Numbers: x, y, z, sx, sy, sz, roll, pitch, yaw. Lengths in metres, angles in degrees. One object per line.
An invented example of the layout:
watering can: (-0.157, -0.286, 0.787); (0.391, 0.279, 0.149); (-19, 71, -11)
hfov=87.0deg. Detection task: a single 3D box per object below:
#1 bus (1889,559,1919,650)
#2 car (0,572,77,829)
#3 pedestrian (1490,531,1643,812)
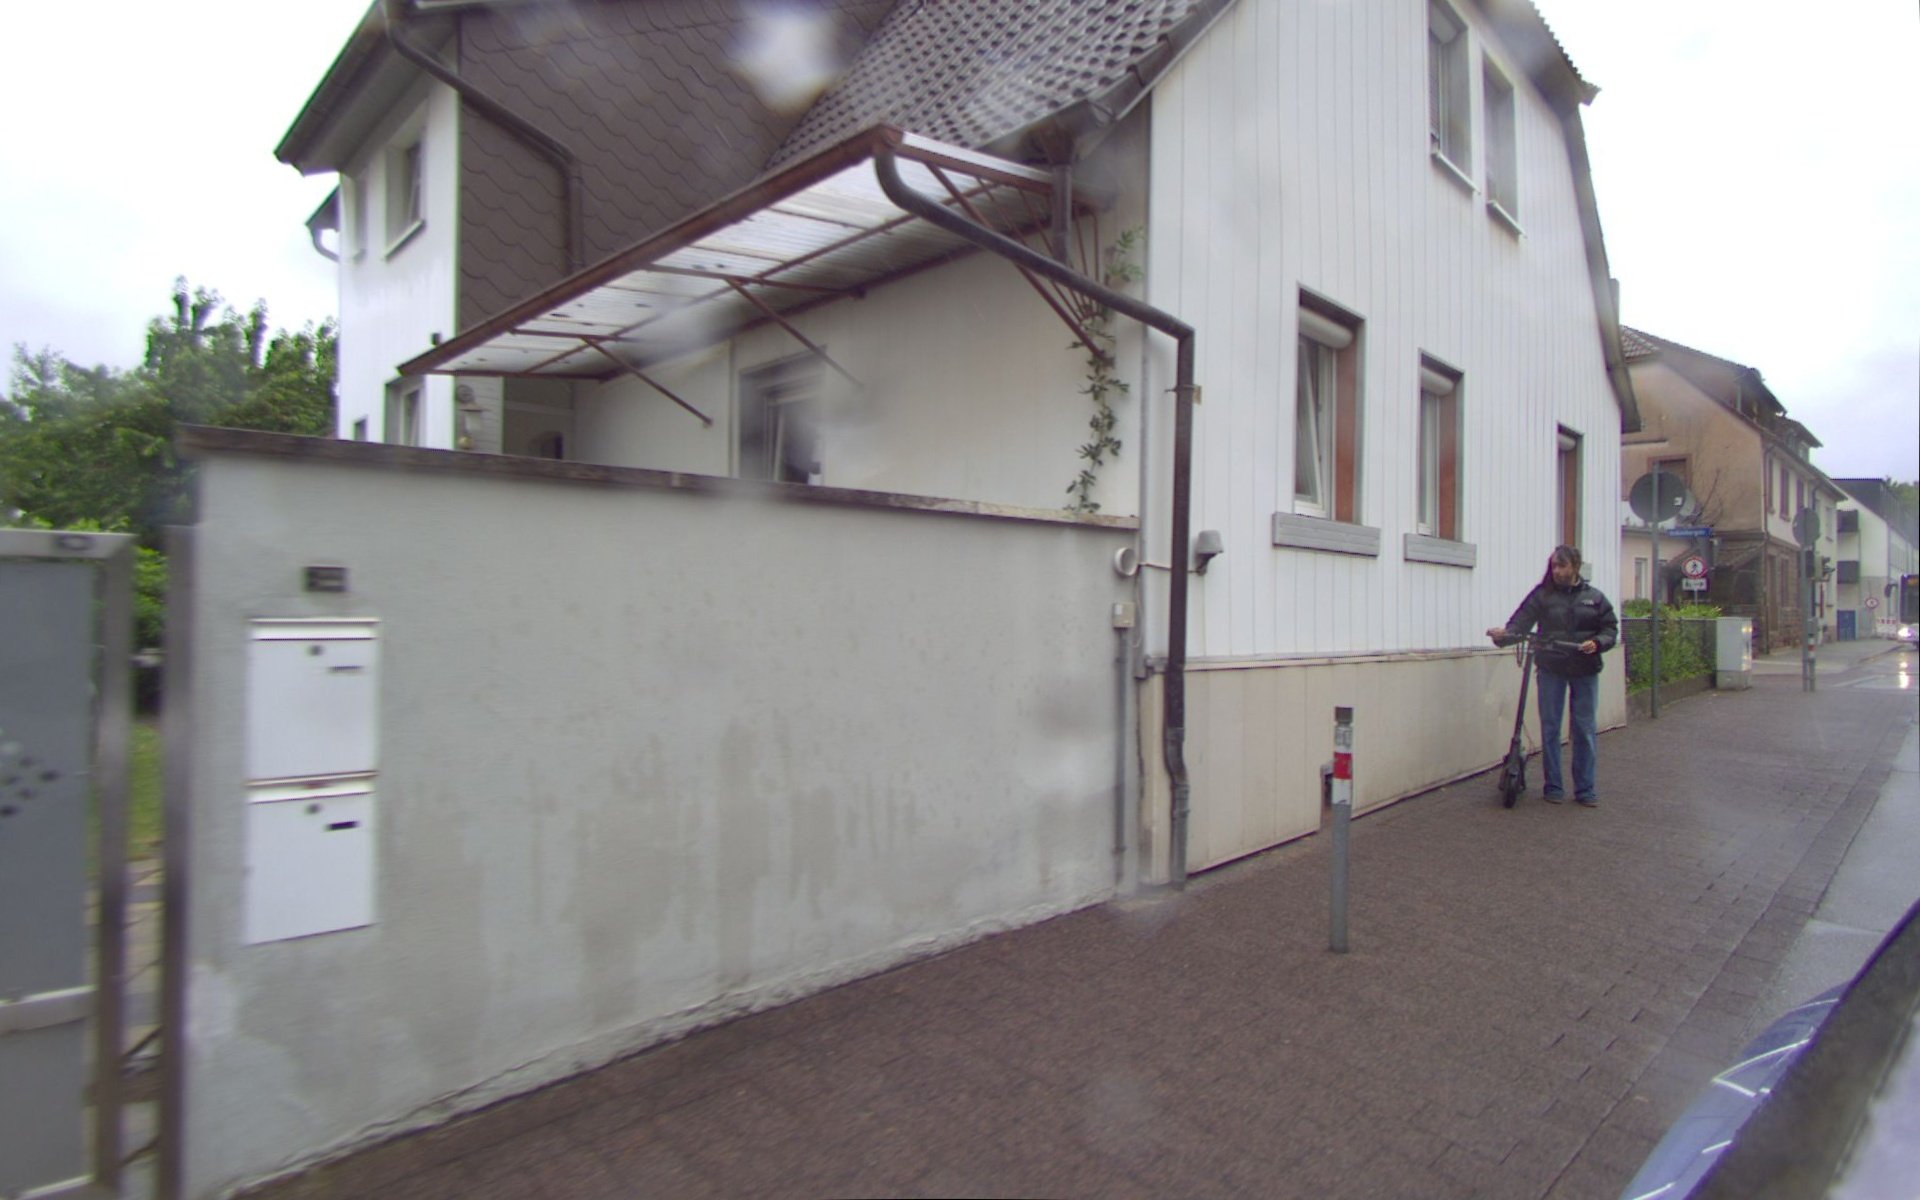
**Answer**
bus: (42.522, 0.148, 42.021); (13.614, 3.455, 3.441); (0, 0, -37)
car: (-7.171, 0.630, 6.850); (1.709, 1.477, 3.705); (-1, -1, -40)
pedestrian: (4.098, 0.438, 6.839); (0.807, 1.754, 0.695); (0, 1, -44)
